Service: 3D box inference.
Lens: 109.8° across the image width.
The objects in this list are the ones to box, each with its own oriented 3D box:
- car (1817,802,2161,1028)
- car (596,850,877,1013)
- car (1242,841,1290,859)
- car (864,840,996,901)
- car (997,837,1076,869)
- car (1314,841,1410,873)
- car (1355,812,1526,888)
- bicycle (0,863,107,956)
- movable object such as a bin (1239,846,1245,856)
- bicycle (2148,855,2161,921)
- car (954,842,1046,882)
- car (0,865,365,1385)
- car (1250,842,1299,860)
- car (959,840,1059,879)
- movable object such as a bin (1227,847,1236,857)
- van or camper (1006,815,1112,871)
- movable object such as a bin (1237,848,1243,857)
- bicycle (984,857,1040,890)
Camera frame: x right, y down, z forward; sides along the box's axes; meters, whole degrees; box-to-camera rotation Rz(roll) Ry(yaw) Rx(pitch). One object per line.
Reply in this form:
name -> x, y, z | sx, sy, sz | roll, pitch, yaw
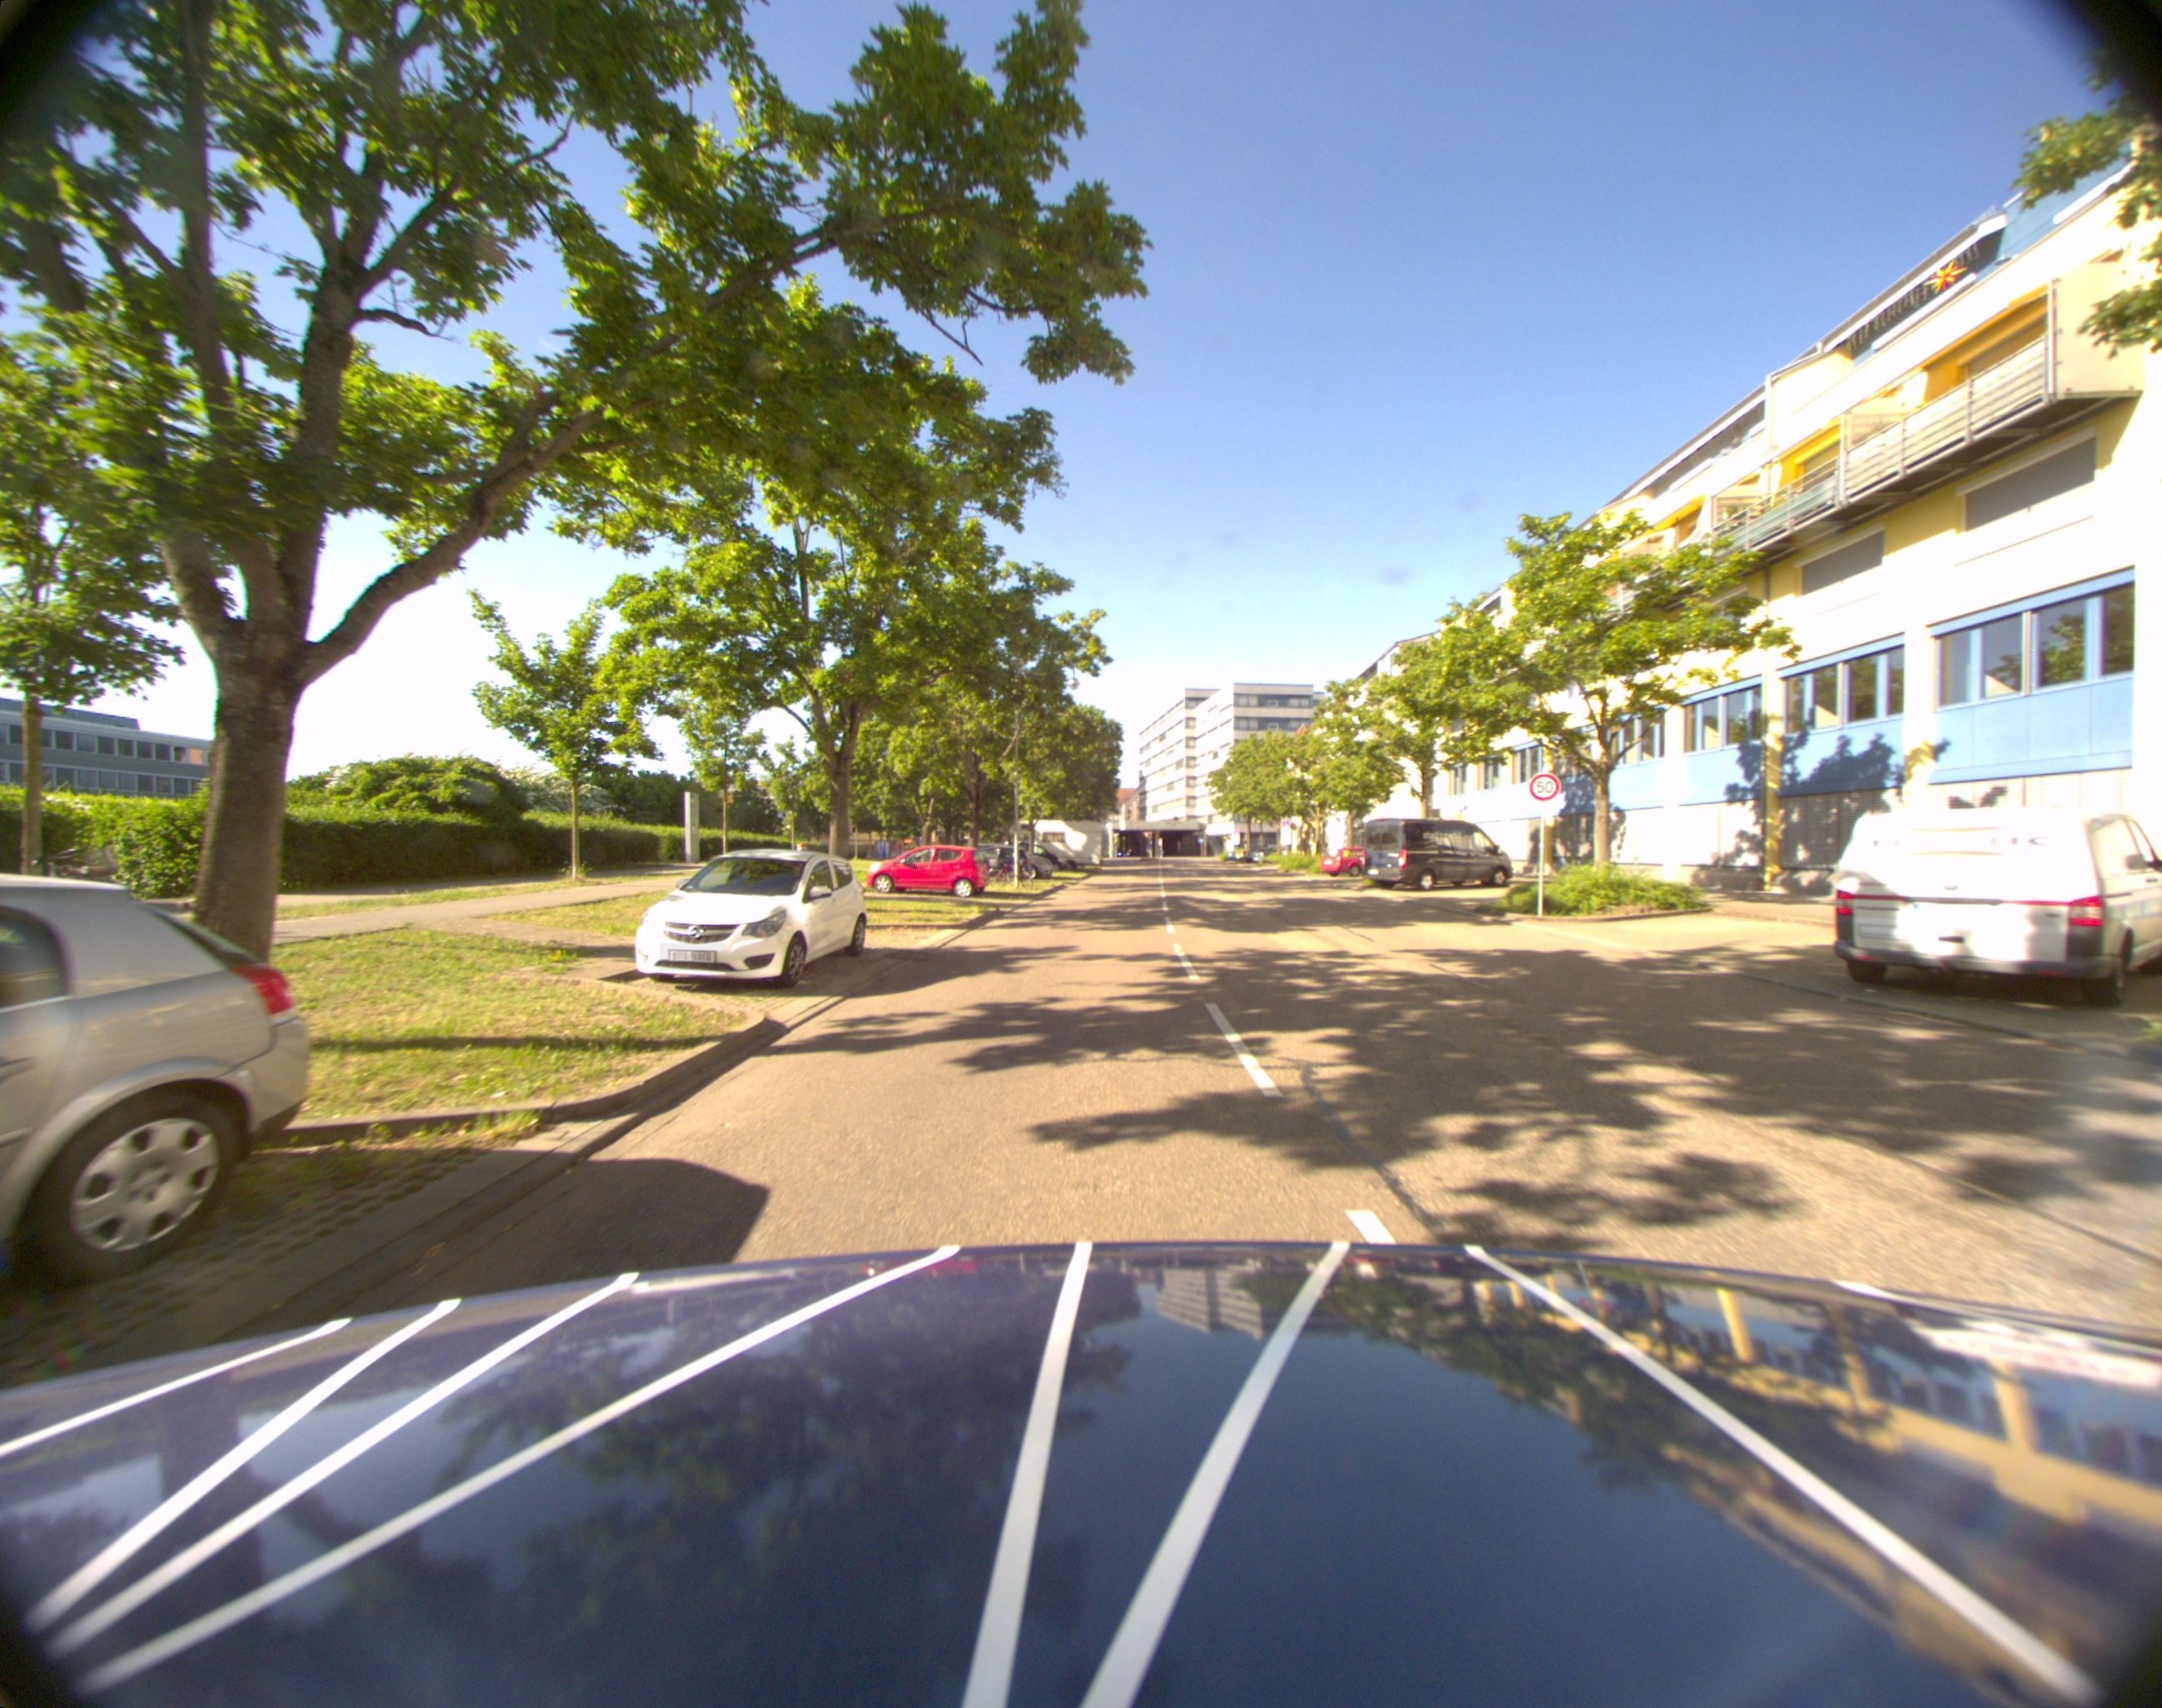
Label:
car -> 10.667, 0.490, 8.672 | 4.778, 1.973, 1.995 | -1, 1, -30
car -> -3.888, 0.753, 9.336 | 1.647, 1.485, 3.765 | 3, 1, 1
car -> 16.968, -0.383, 69.608 | 4.005, 1.456, 1.807 | -2, 2, -28
car -> -4.417, 0.454, 22.508 | 3.441, 1.535, 1.628 | 3, 2, 7
car -> -2.471, -0.084, 42.523 | 4.158, 1.537, 1.859 | 3, 1, 3
car -> 13.849, 0.136, 37.466 | 4.238, 1.467, 1.767 | -1, 1, -18
car -> 12.614, -0.187, 26.658 | 5.510, 2.422, 2.182 | -2, 1, -21
bicycle -> -10.897, 0.552, 7.819 | 0.348, 0.861, 1.406 | 1, 1, -19
movable object such as a bin -> 17.412, -0.287, 82.207 | 0.476, 1.035, 0.543 | -1, 2, 30
bicycle -> 18.906, 0.587, 12.382 | 1.801, 1.091, 0.702 | 1, 1, 6
car -> -3.380, 0.295, 32.188 | 3.468, 1.471, 1.860 | 3, 1, 8
car -> -4.094, 0.857, 1.156 | 1.814, 1.485, 4.621 | 2, 1, -4
car -> 17.054, -0.288, 66.960 | 4.005, 1.456, 1.807 | -2, 2, -28
car -> -3.241, 0.224, 34.842 | 4.201, 1.537, 1.860 | 3, 1, 7
movable object such as a bin -> 16.224, -0.201, 81.878 | 0.674, 1.068, 0.804 | 1, 2, 30
van or camper -> -1.244, -0.666, 45.271 | 5.995, 2.967, 2.671 | 3, 2, 3
movable object such as a bin -> 16.994, -0.122, 81.414 | 0.476, 0.954, 0.543 | -1, 2, 28
bicycle -> -2.295, 0.633, 25.264 | 1.753, 0.985, 0.530 | 2, 2, 17
